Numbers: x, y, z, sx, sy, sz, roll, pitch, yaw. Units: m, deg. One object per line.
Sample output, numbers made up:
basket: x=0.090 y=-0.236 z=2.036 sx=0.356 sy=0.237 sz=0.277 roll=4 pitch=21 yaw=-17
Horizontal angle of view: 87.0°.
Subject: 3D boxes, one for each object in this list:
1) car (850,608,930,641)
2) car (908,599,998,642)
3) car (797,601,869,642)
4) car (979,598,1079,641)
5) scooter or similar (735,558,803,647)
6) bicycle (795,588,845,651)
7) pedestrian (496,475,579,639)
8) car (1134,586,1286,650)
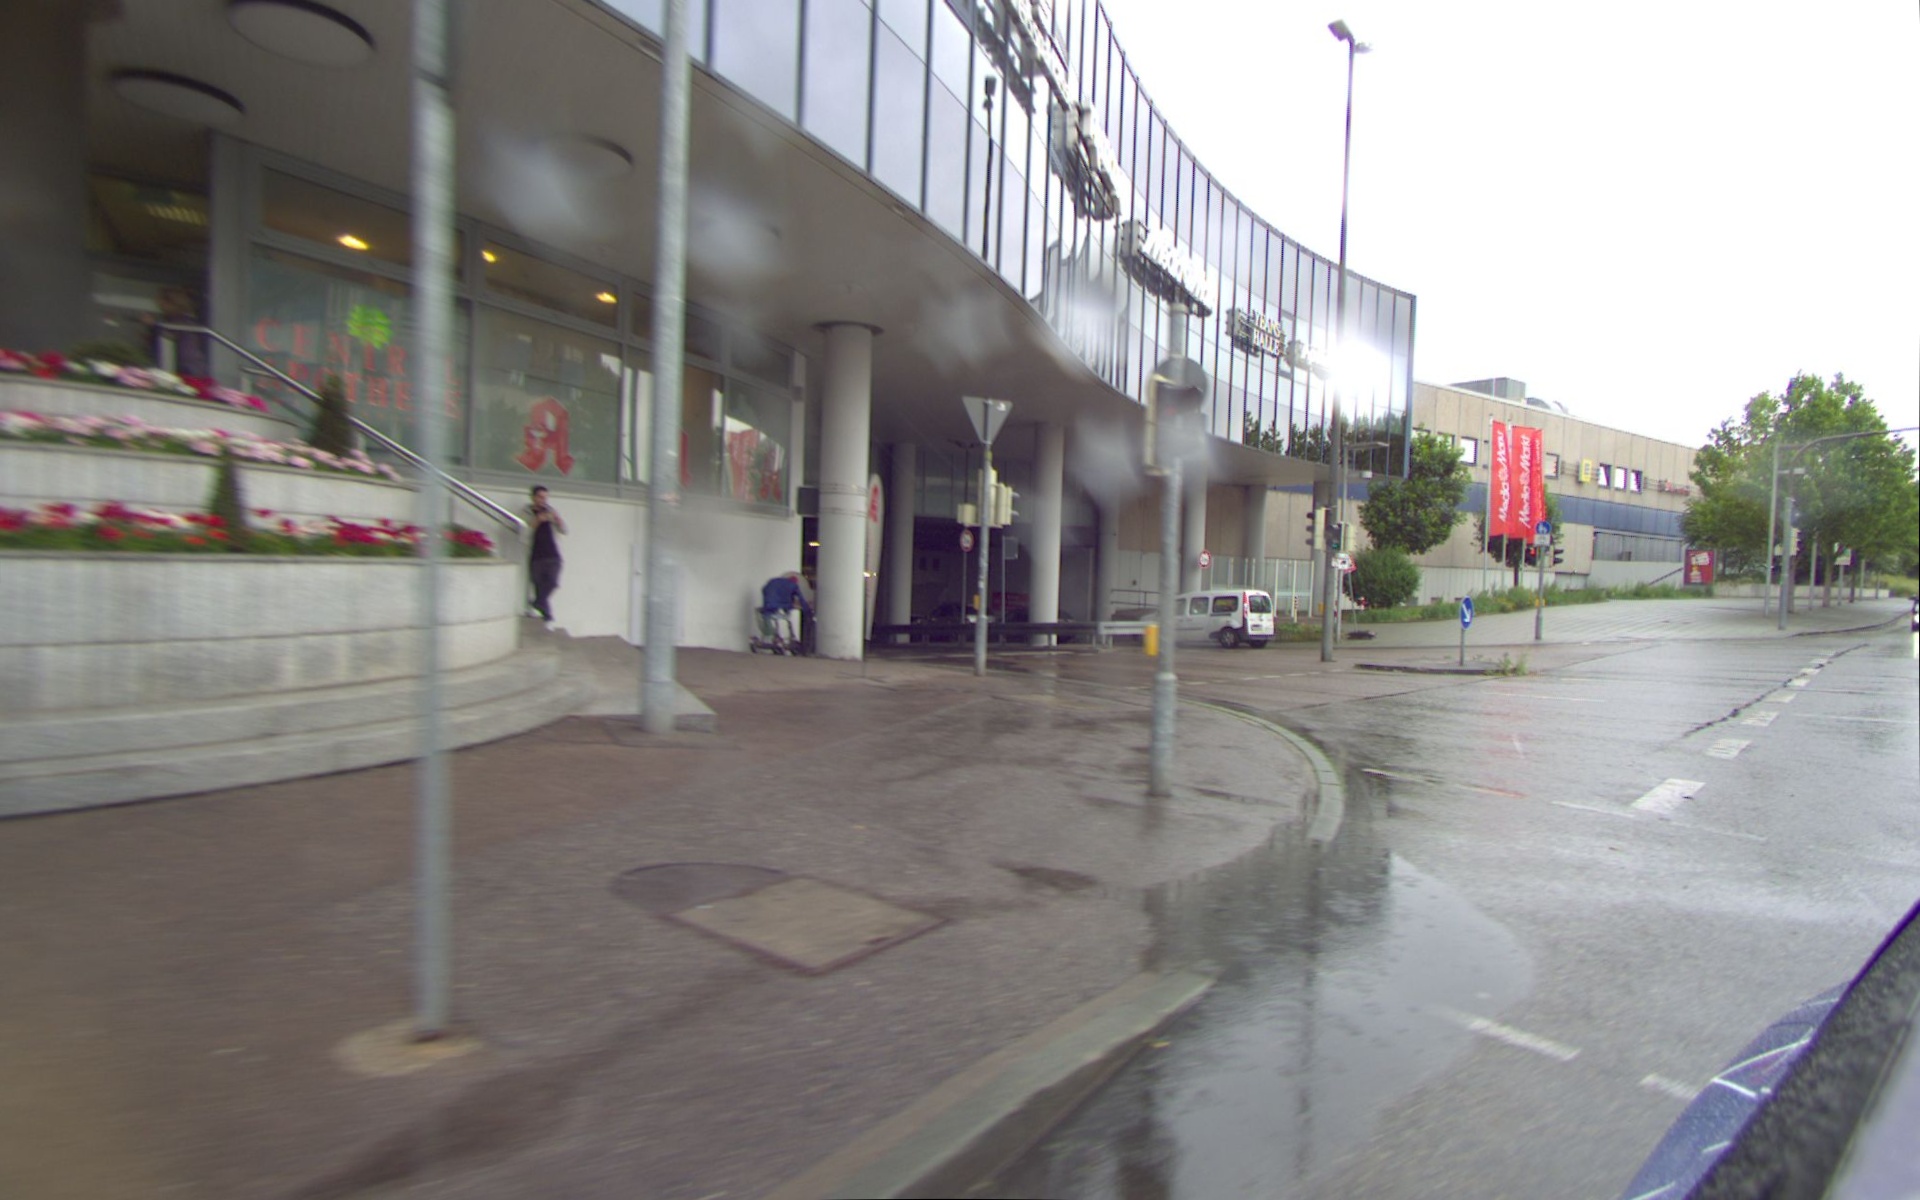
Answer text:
car: x=-3.197 y=1.117 z=45.399 sx=1.751 sy=1.418 sz=3.998 roll=0 pitch=-2 yaw=-35
car: x=-0.345 y=0.814 z=41.496 sx=1.606 sy=1.632 sz=4.264 roll=-1 pitch=0 yaw=-33
car: x=-6.275 y=1.020 z=49.728 sx=1.764 sy=1.792 sz=3.999 roll=0 pitch=2 yaw=-37
car: x=2.486 y=0.696 z=37.403 sx=1.728 sy=1.482 sz=3.946 roll=0 pitch=-1 yaw=-31
scooter or similar: x=-3.129 y=0.049 z=16.638 sx=0.484 sy=1.390 sz=1.161 roll=3 pitch=0 yaw=23
bicycle: x=-2.520 y=0.382 z=18.353 sx=0.444 sy=1.031 sz=1.582 roll=3 pitch=-4 yaw=7
pedestrian: x=-5.151 y=-0.522 z=12.357 sx=0.590 sy=1.932 sz=0.651 roll=3 pitch=1 yaw=30
car: x=7.729 y=0.490 z=31.588 sx=1.898 sy=1.820 sz=4.290 roll=0 pitch=1 yaw=-41
